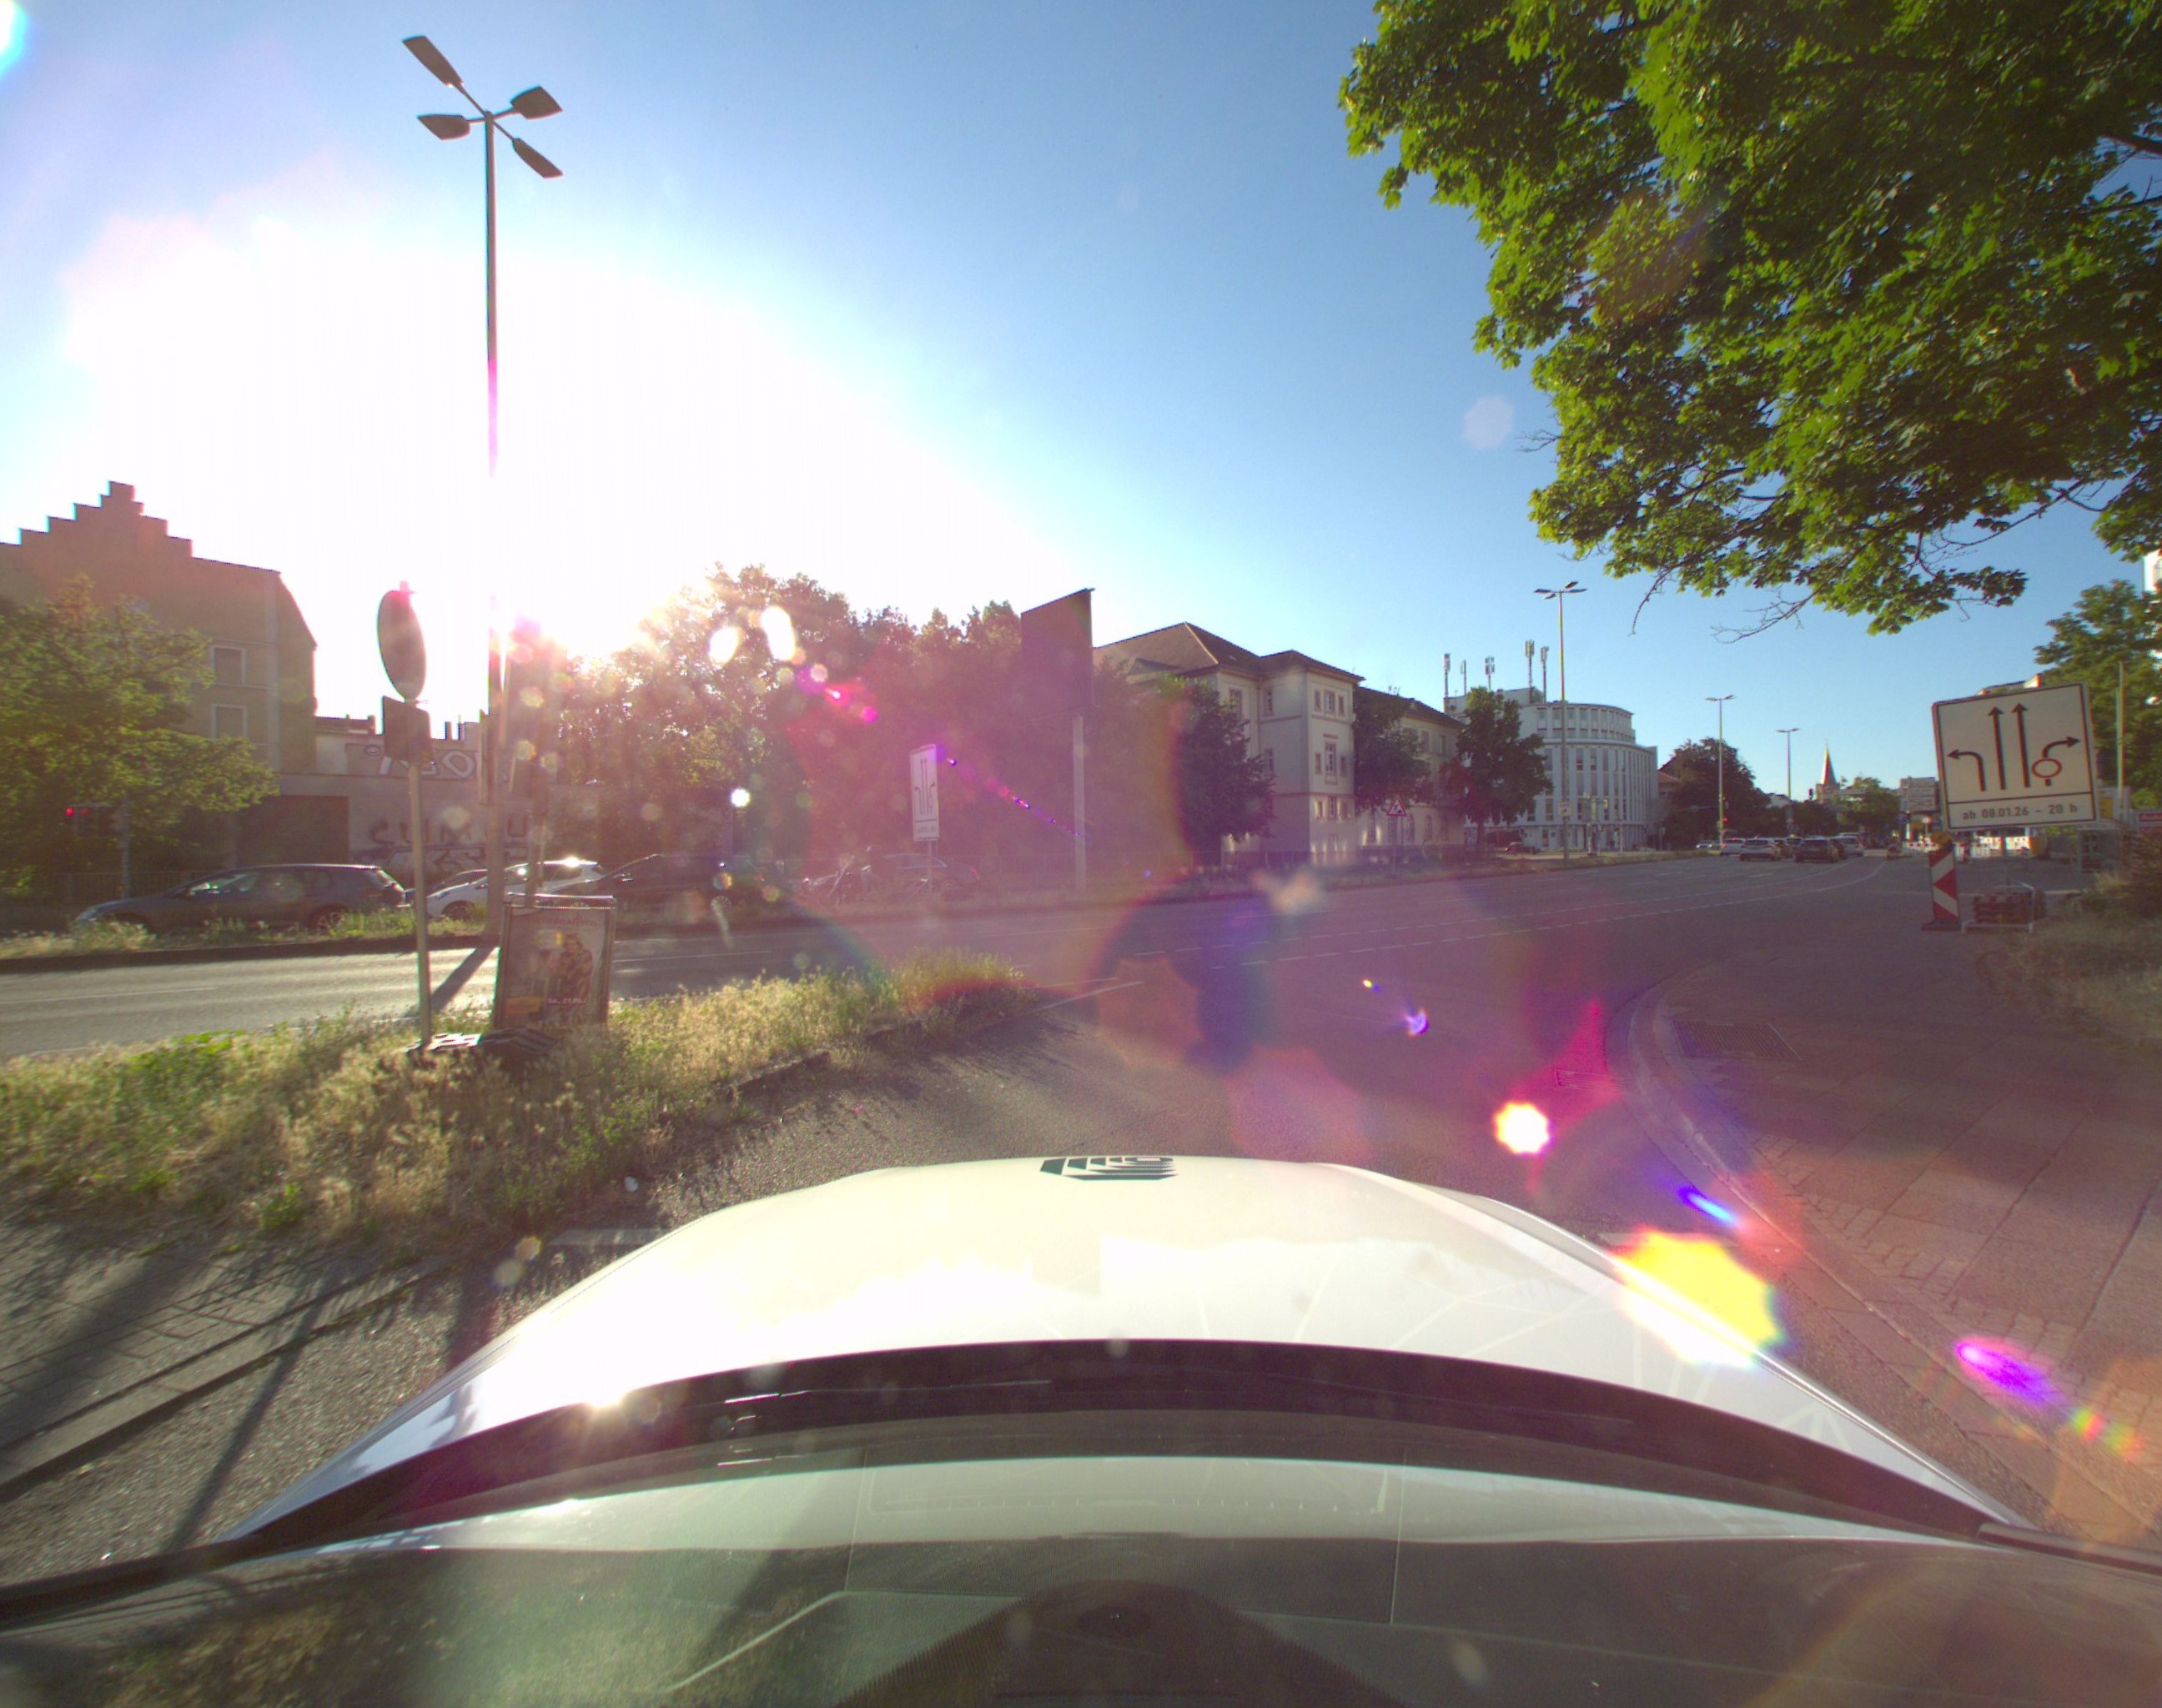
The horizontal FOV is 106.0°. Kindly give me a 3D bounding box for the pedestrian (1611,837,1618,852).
[{"bbox_3d":[68.622,-1.238,104.752,0.653,1.859,0.783,-1,0,34],"label":"pedestrian"}]

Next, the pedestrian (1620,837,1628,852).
[{"bbox_3d":[69.324,-1.242,104.033,0.751,1.842,0.823,-1,0,36],"label":"pedestrian"}]

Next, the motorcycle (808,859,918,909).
[{"bbox_3d":[-5.313,0.709,19.902,2.476,1.108,0.853,-1,0,-28],"label":"motorcycle"}]

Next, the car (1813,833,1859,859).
[{"bbox_3d":[47.916,-0.465,51.688,3.743,1.490,1.740,1,-3,-42],"label":"car"}]

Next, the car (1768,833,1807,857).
[{"bbox_3d":[49.547,-0.646,57.089,4.073,1.564,1.732,-1,0,-44],"label":"car"}]

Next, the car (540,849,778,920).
[{"bbox_3d":[-9.036,0.602,17.736,4.387,1.296,1.709,-1,0,-28],"label":"car"}]

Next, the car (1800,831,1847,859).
[{"bbox_3d":[43.795,-0.558,48.015,4.073,1.564,1.732,-1,0,-44],"label":"car"}]

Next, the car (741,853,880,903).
[{"bbox_3d":[-8.984,0.757,27.142,4.016,1.464,1.840,-1,1,-35],"label":"car"}]

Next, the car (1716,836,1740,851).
[{"bbox_3d":[88.489,-1.403,111.376,4.021,1.816,1.825,1,-3,-42],"label":"car"}]

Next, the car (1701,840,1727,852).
[{"bbox_3d":[82.976,-1.094,106.672,4.468,1.413,1.975,-1,-1,-43],"label":"car"}]

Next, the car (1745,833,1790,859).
[{"bbox_3d":[43.923,-0.543,52.083,4.073,1.564,1.732,-1,0,-44],"label":"car"}]

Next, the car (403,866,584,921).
[{"bbox_3d":[-16.256,1.045,22.795,3.906,1.296,1.708,-1,0,-30],"label":"car"}]

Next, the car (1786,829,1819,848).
[{"bbox_3d":[59.073,-1.276,66.644,3.744,1.504,1.666,-1,0,-44],"label":"car"}]

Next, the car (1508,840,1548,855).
[{"bbox_3d":[52.907,-0.769,96.441,3.772,1.530,1.874,-3,-3,43],"label":"car"}]

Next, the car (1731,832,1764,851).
[{"bbox_3d":[53.921,-1.022,65.905,4.023,1.456,1.669,-2,1,-45],"label":"car"}]

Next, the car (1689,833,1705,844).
[{"bbox_3d":[98.101,-2.484,129.690,1.823,1.572,4.025,-1,0,39],"label":"car"}]

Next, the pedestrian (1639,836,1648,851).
[{"bbox_3d":[70.931,-1.268,102.748,1.133,1.868,0.621,-1,0,-40],"label":"pedestrian"}]

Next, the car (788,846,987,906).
[{"bbox_3d":[-5.581,0.578,23.809,5.313,1.496,1.979,-1,0,-34],"label":"car"}]

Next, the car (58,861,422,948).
[{"bbox_3d":[-14.944,0.832,14.842,4.257,1.296,1.709,-1,0,-26],"label":"car"}]

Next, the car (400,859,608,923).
[{"bbox_3d":[-13.650,0.827,19.583,3.906,1.319,1.708,-1,0,-30],"label":"car"}]

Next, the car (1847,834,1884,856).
[{"bbox_3d":[58.636,-0.676,60.829,3.743,1.579,1.713,-1,0,-42],"label":"car"}]

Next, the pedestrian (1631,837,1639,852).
[{"bbox_3d":[70.324,-1.215,103.415,0.654,1.868,0.783,-1,0,44],"label":"pedestrian"}]

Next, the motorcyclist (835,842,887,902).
[{"bbox_3d":[-5.374,0.421,19.870,1.064,1.398,0.846,-1,0,-28],"label":"motorcyclist"}]
